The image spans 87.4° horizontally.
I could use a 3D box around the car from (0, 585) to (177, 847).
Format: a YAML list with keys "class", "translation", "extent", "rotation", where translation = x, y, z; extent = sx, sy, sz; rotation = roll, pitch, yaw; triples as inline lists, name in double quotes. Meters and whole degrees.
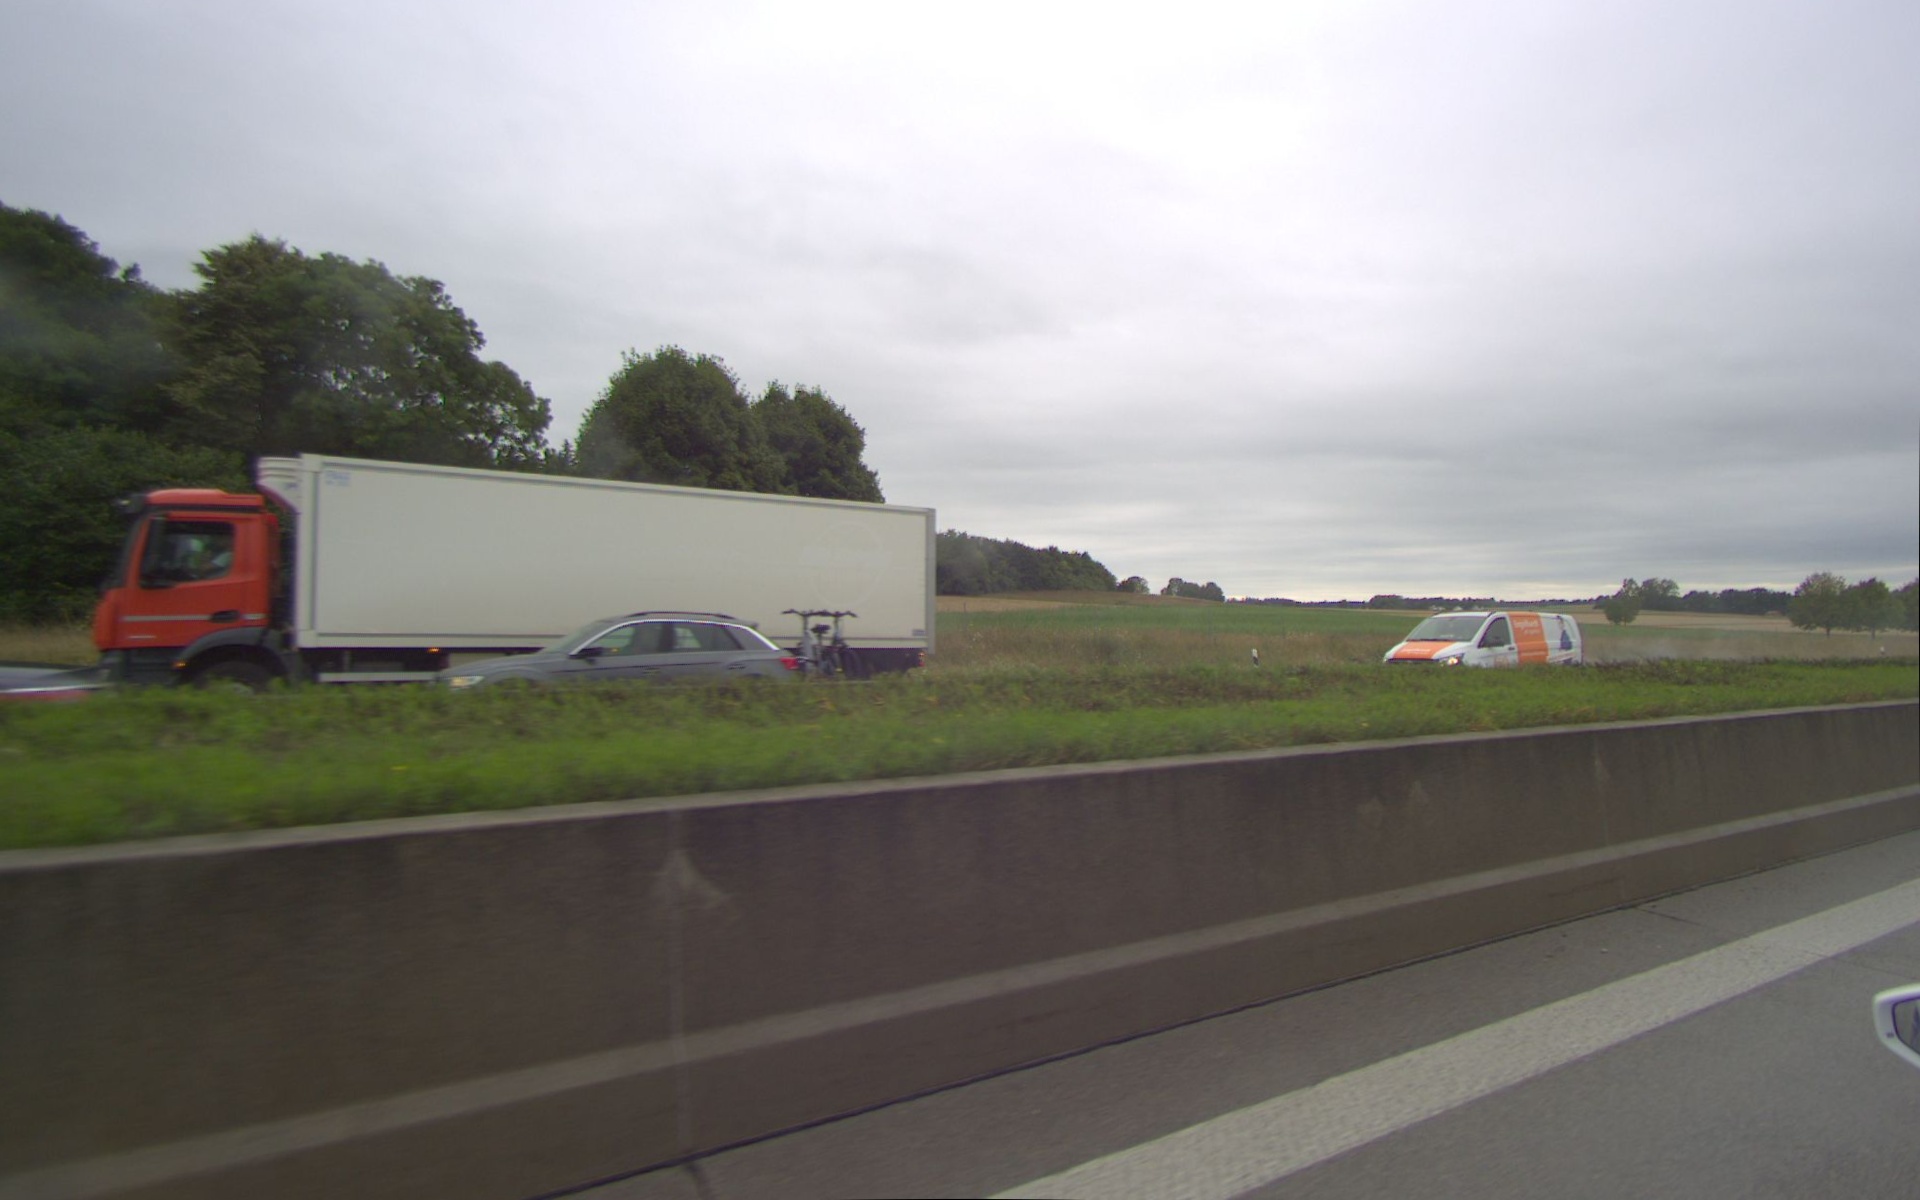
- class: "car"
  translation: [-7.323, 0.646, 5.637]
  extent: [4.404, 1.500, 1.719]
  rotation: [1, -2, -32]

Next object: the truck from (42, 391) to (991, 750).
- class: "truck"
  translation: [-5.448, -0.276, 15.377]
  extent: [12.307, 3.907, 2.888]
  rotation: [0, -1, -31]

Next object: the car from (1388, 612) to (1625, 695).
- class: "car"
  translation: [12.392, 1.119, 22.638]
  extent: [5.785, 1.653, 2.098]
  rotation: [0, -1, -32]

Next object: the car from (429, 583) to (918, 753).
- class: "car"
  translation: [-3.308, 0.733, 12.072]
  extent: [5.323, 1.653, 1.980]
  rotation: [2, -1, -32]
